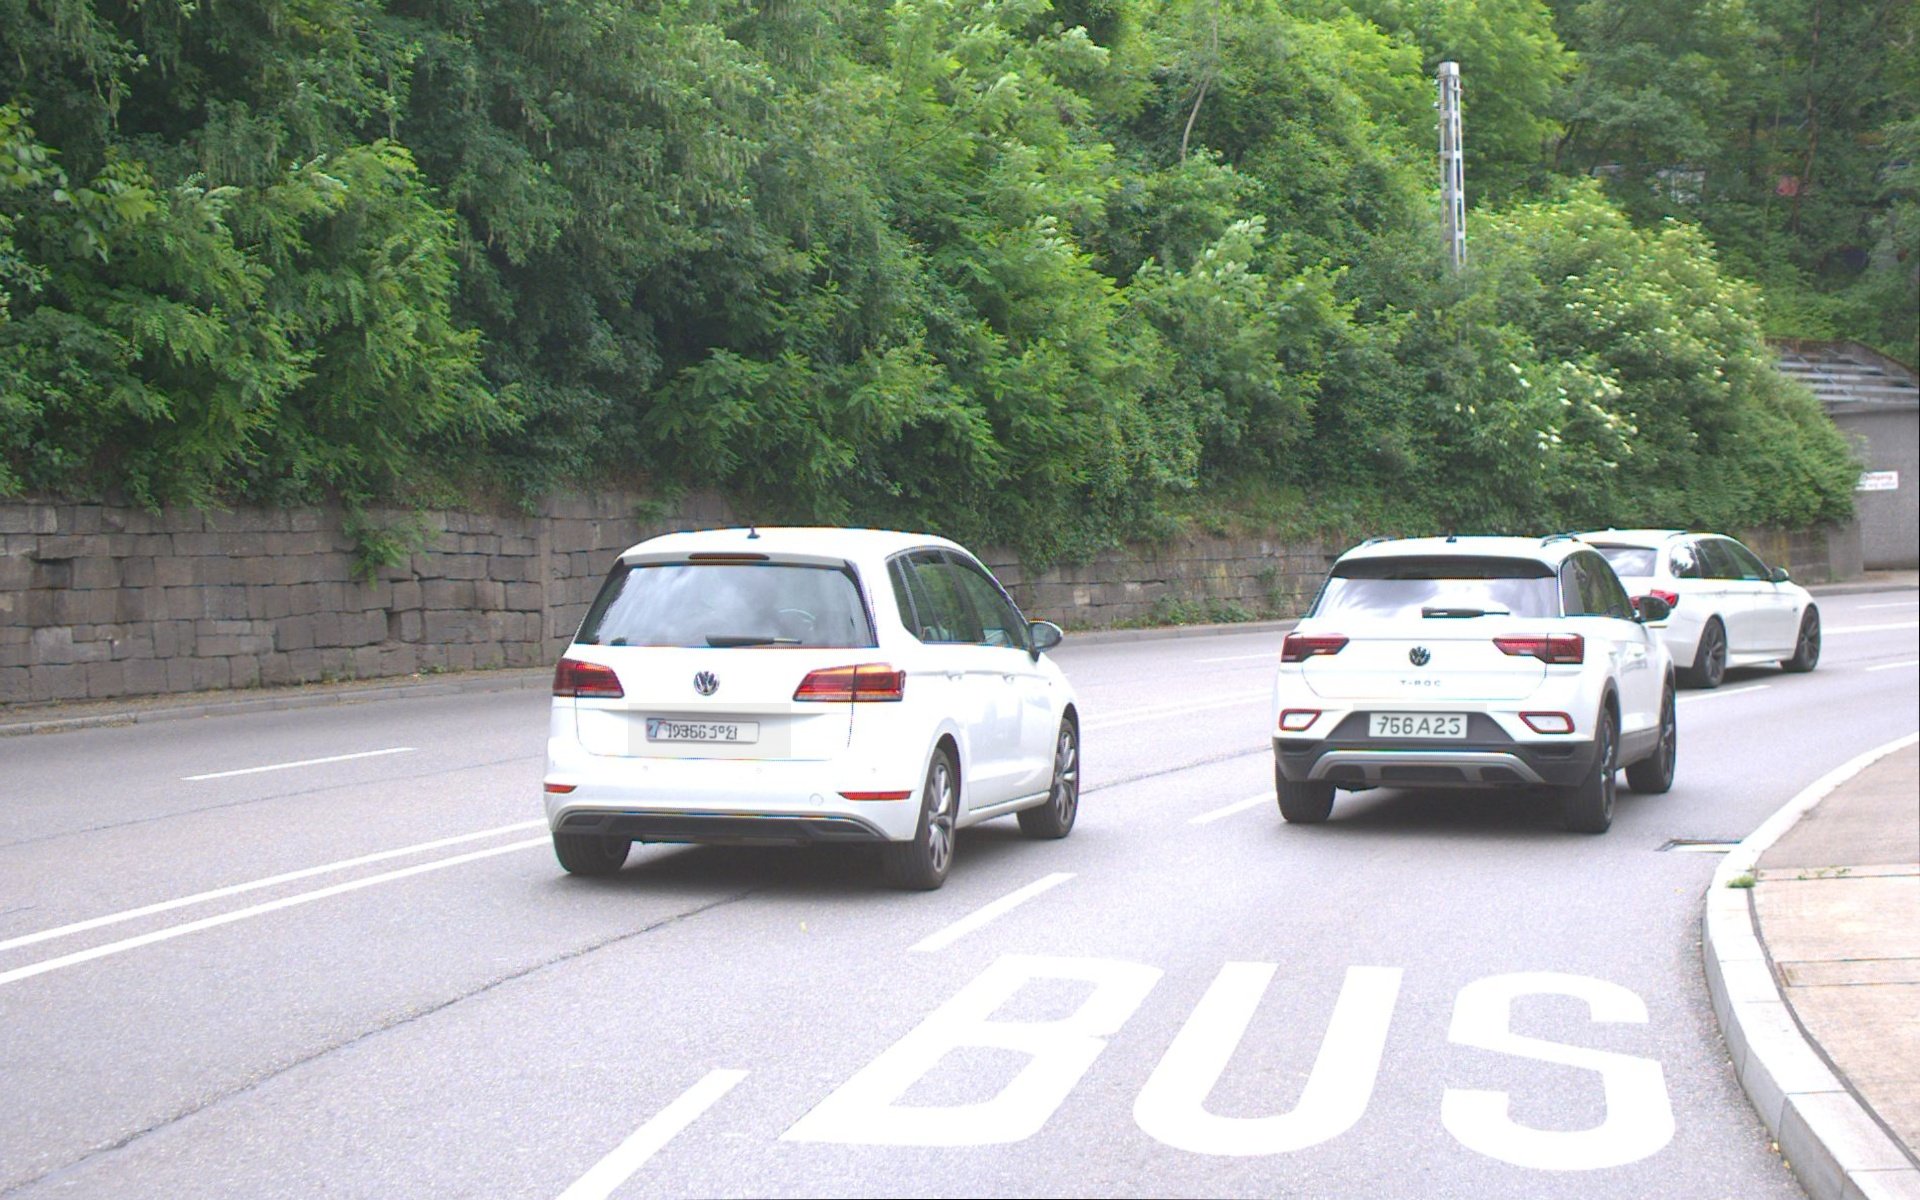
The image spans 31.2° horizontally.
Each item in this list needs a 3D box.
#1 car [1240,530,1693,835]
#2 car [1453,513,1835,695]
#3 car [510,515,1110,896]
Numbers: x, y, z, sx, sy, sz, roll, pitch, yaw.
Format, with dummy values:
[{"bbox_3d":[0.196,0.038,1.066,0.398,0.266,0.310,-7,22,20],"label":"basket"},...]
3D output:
[{"bbox_3d":[2.977,0.393,19.486,1.815,1.534,4.005,-1,1,19],"label":"car"},{"bbox_3d":[6.687,-0.008,33.207,1.997,1.552,4.672,4,3,32],"label":"car"},{"bbox_3d":[-0.552,0.403,16.374,1.721,1.549,4.273,1,1,14],"label":"car"}]
